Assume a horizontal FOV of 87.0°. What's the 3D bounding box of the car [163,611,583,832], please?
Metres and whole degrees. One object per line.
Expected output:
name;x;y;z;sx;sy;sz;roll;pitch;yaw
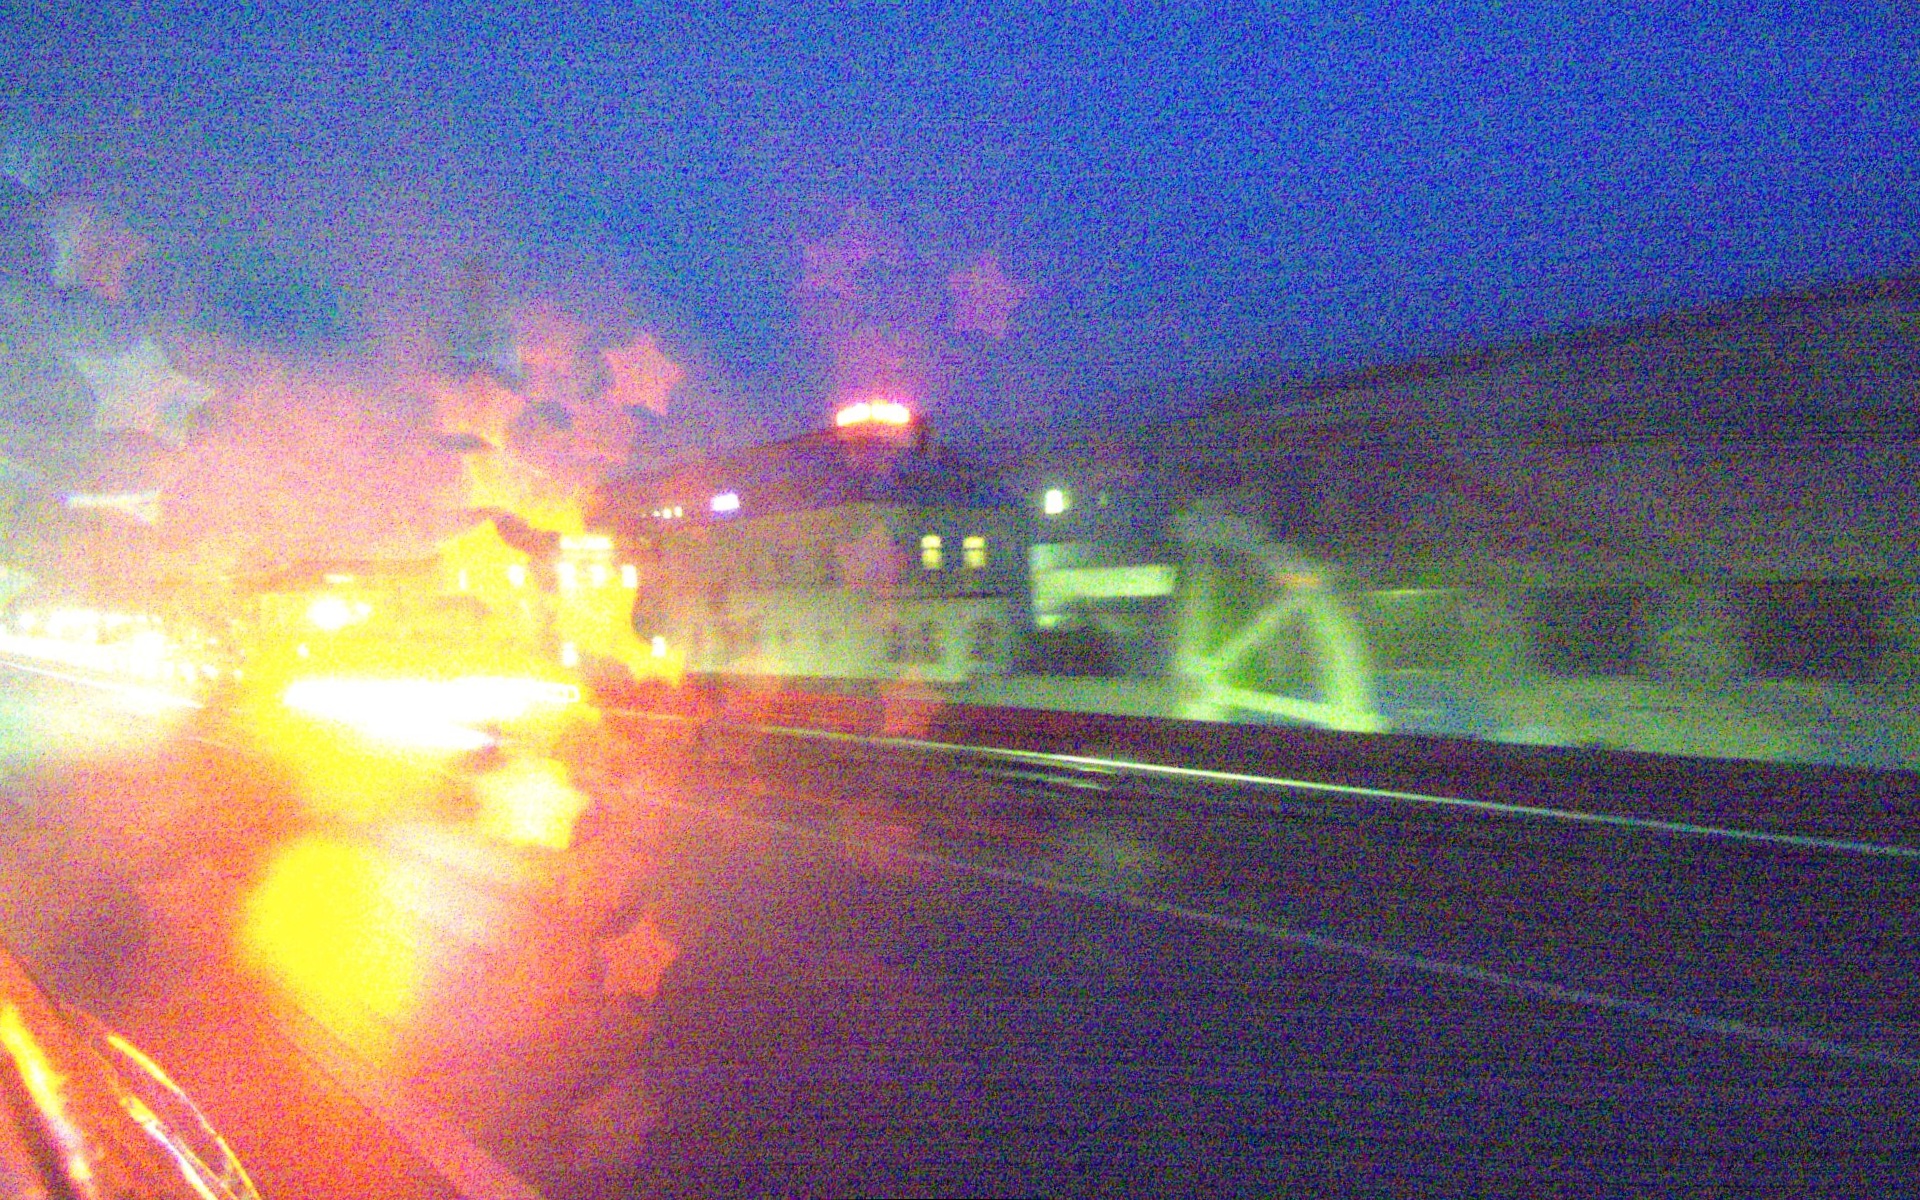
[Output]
car;-5.301;0.845;8.865;4.462;1.454;1.848;-1;-2;41
